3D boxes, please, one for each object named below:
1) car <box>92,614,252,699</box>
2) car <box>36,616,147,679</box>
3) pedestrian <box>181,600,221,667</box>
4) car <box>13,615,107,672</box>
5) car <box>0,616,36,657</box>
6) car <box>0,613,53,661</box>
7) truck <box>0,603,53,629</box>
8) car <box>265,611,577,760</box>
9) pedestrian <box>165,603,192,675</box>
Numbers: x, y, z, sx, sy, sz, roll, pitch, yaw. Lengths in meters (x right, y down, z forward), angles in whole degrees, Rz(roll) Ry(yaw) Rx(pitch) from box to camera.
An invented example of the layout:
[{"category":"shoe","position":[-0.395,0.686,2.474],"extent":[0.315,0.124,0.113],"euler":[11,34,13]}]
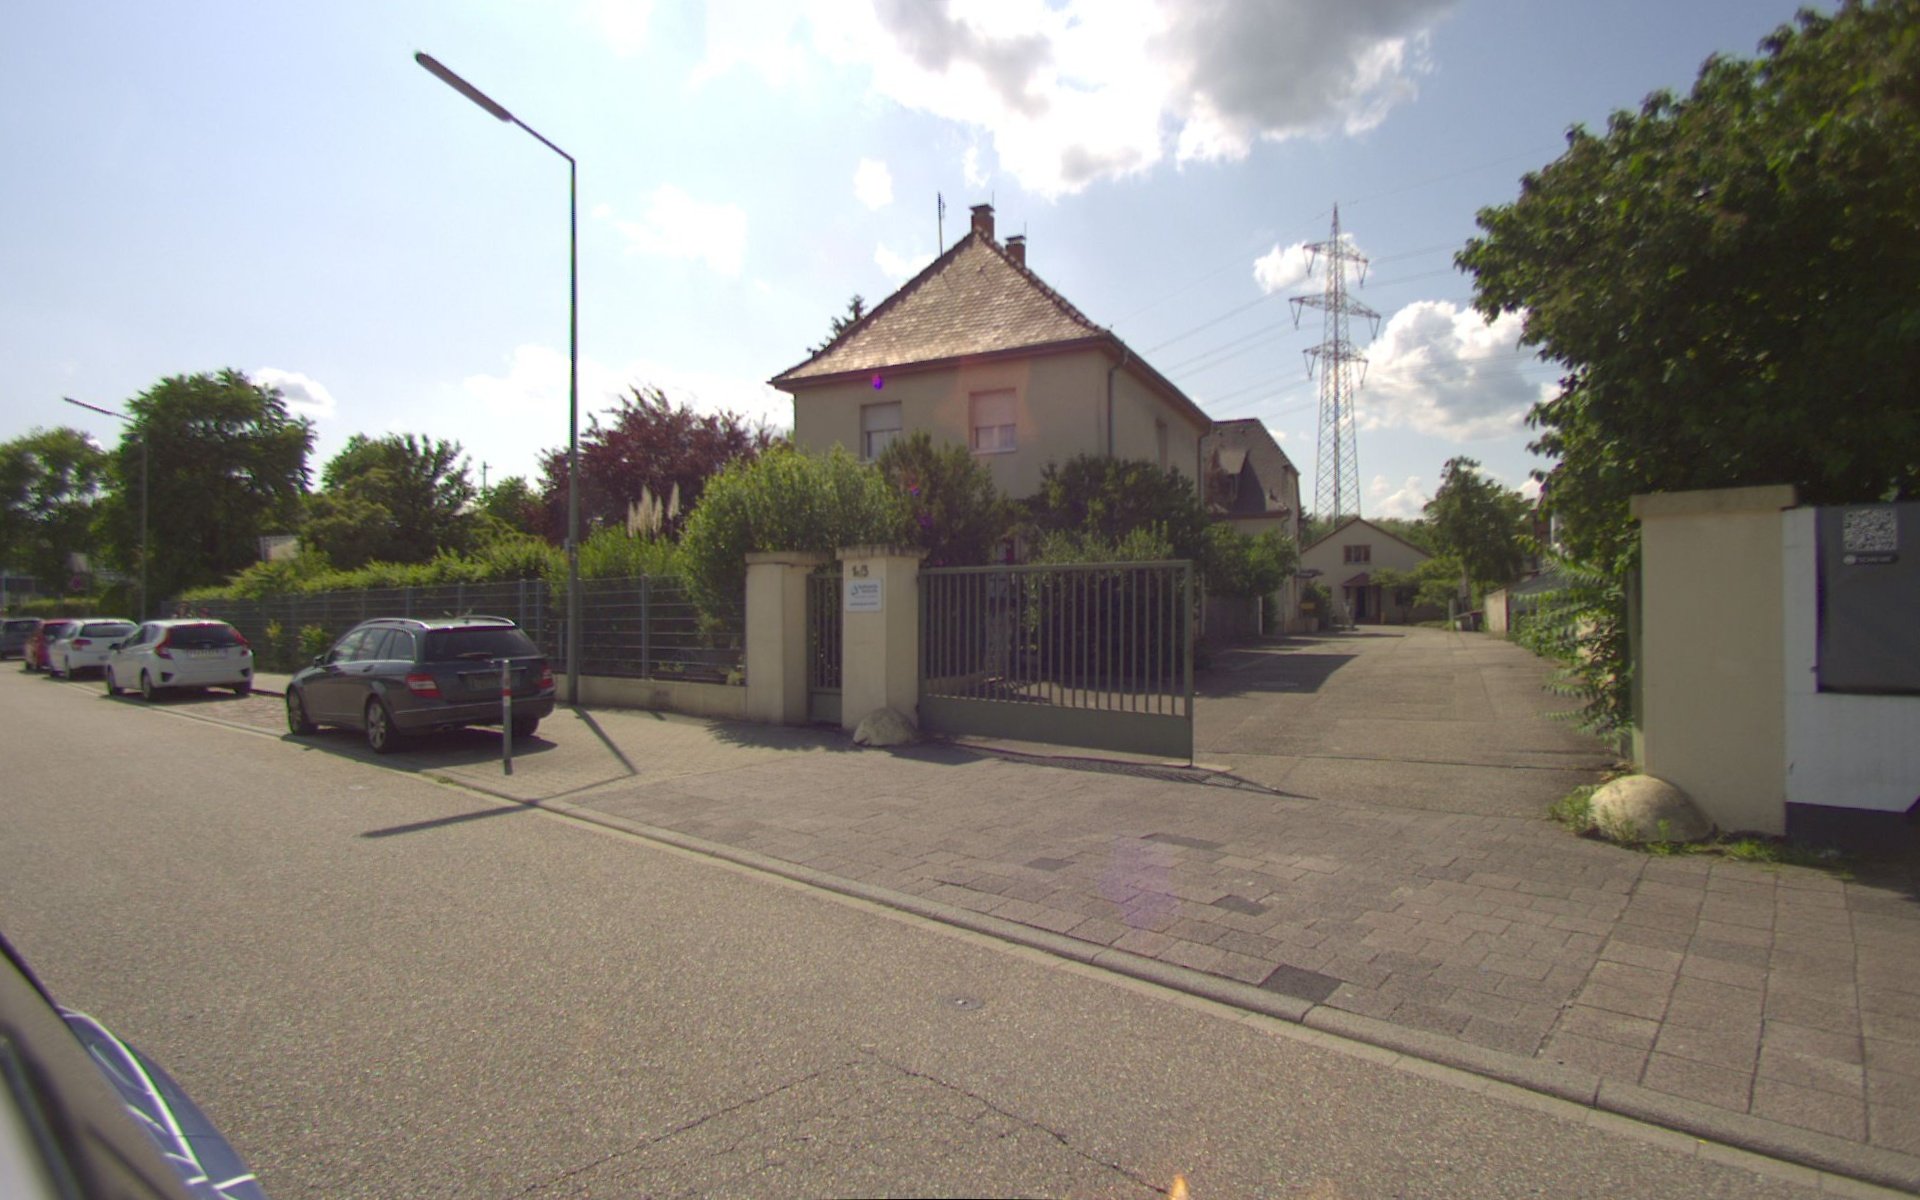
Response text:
[{"category":"car","position":[-15.892,1.060,20.338],"extent":[4.170,1.534,1.605],"euler":[-1,-1,38]},{"category":"car","position":[-22.780,1.194,26.502],"extent":[4.026,1.488,1.628],"euler":[0,0,41]},{"category":"pedestrian","position":[-20.980,0.911,27.969],"extent":[0.915,1.814,0.700],"euler":[0,0,41]},{"category":"car","position":[-26.346,1.224,29.584],"extent":[3.743,1.478,1.648],"euler":[0,1,42]},{"category":"car","position":[-38.823,1.479,40.810],"extent":[3.998,1.519,1.826],"euler":[-1,2,41]},{"category":"car","position":[-35.298,1.349,37.763],"extent":[3.270,1.657,1.634],"euler":[-1,2,39]},{"category":"truck","position":[-101.634,1.721,108.158],"extent":[2.382,2.678,6.902],"euler":[-1,-1,14]},{"category":"car","position":[-6.675,0.903,12.318],"extent":[4.493,1.429,1.787],"euler":[-1,1,40]},{"category":"pedestrian","position":[-21.095,1.028,27.309],"extent":[0.677,1.908,0.446],"euler":[0,0,41]}]
